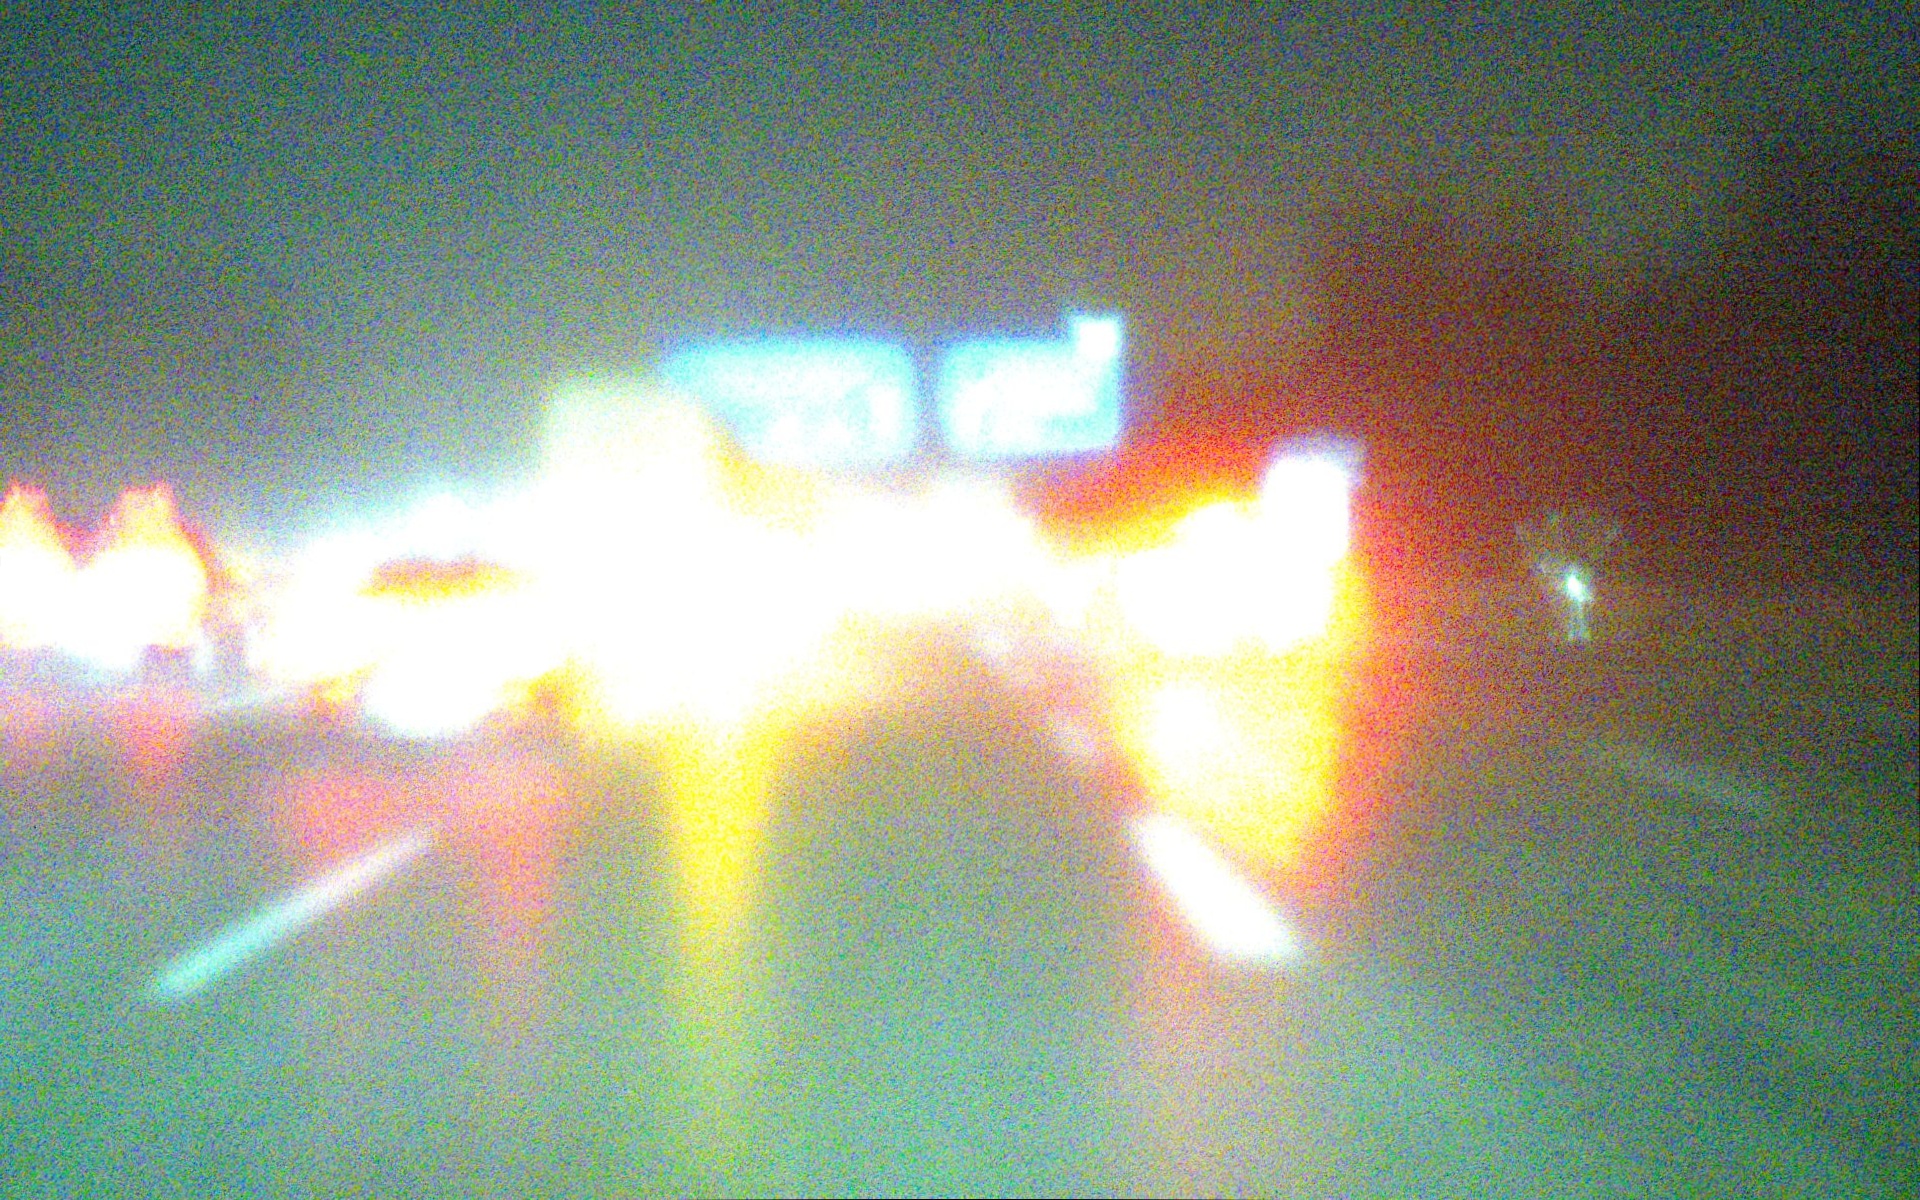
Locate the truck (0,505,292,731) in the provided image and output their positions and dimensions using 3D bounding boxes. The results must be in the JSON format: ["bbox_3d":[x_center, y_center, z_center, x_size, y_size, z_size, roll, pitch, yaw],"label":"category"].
[{"bbox_3d":[-8.980,0.138,36.631,2.857,2.193,5.859,1,1,-3],"label":"truck"}]

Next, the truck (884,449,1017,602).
[{"bbox_3d":[-0.445,-2.627,123.104,4.161,5.197,9.955,1,1,-3],"label":"truck"}]

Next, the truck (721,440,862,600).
[{"bbox_3d":[-5.916,-2.785,123.006,4.254,5.425,10.884,1,1,1],"label":"truck"}]

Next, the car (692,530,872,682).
[{"bbox_3d":[-2.159,0.045,42.810,2.039,1.755,4.516,1,1,-1],"label":"car"}]

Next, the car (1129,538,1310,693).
[{"bbox_3d":[3.085,0.162,41.577,1.878,1.756,4.000,1,1,0],"label":"car"}]

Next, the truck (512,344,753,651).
[{"bbox_3d":[-5.488,-1.641,58.409,3.655,4.721,9.854,1,1,-5],"label":"truck"}]

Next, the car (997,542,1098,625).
[{"bbox_3d":[1.841,-0.370,73.862,1.993,1.698,4.458,1,1,0],"label":"car"}]

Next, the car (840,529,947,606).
[{"bbox_3d":[-1.787,-0.894,94.541,2.833,2.007,5.510,1,1,0],"label":"car"}]

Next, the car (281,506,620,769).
[{"bbox_3d":[-3.481,0.192,24.132,1.765,1.683,4.000,0,1,0],"label":"car"}]
